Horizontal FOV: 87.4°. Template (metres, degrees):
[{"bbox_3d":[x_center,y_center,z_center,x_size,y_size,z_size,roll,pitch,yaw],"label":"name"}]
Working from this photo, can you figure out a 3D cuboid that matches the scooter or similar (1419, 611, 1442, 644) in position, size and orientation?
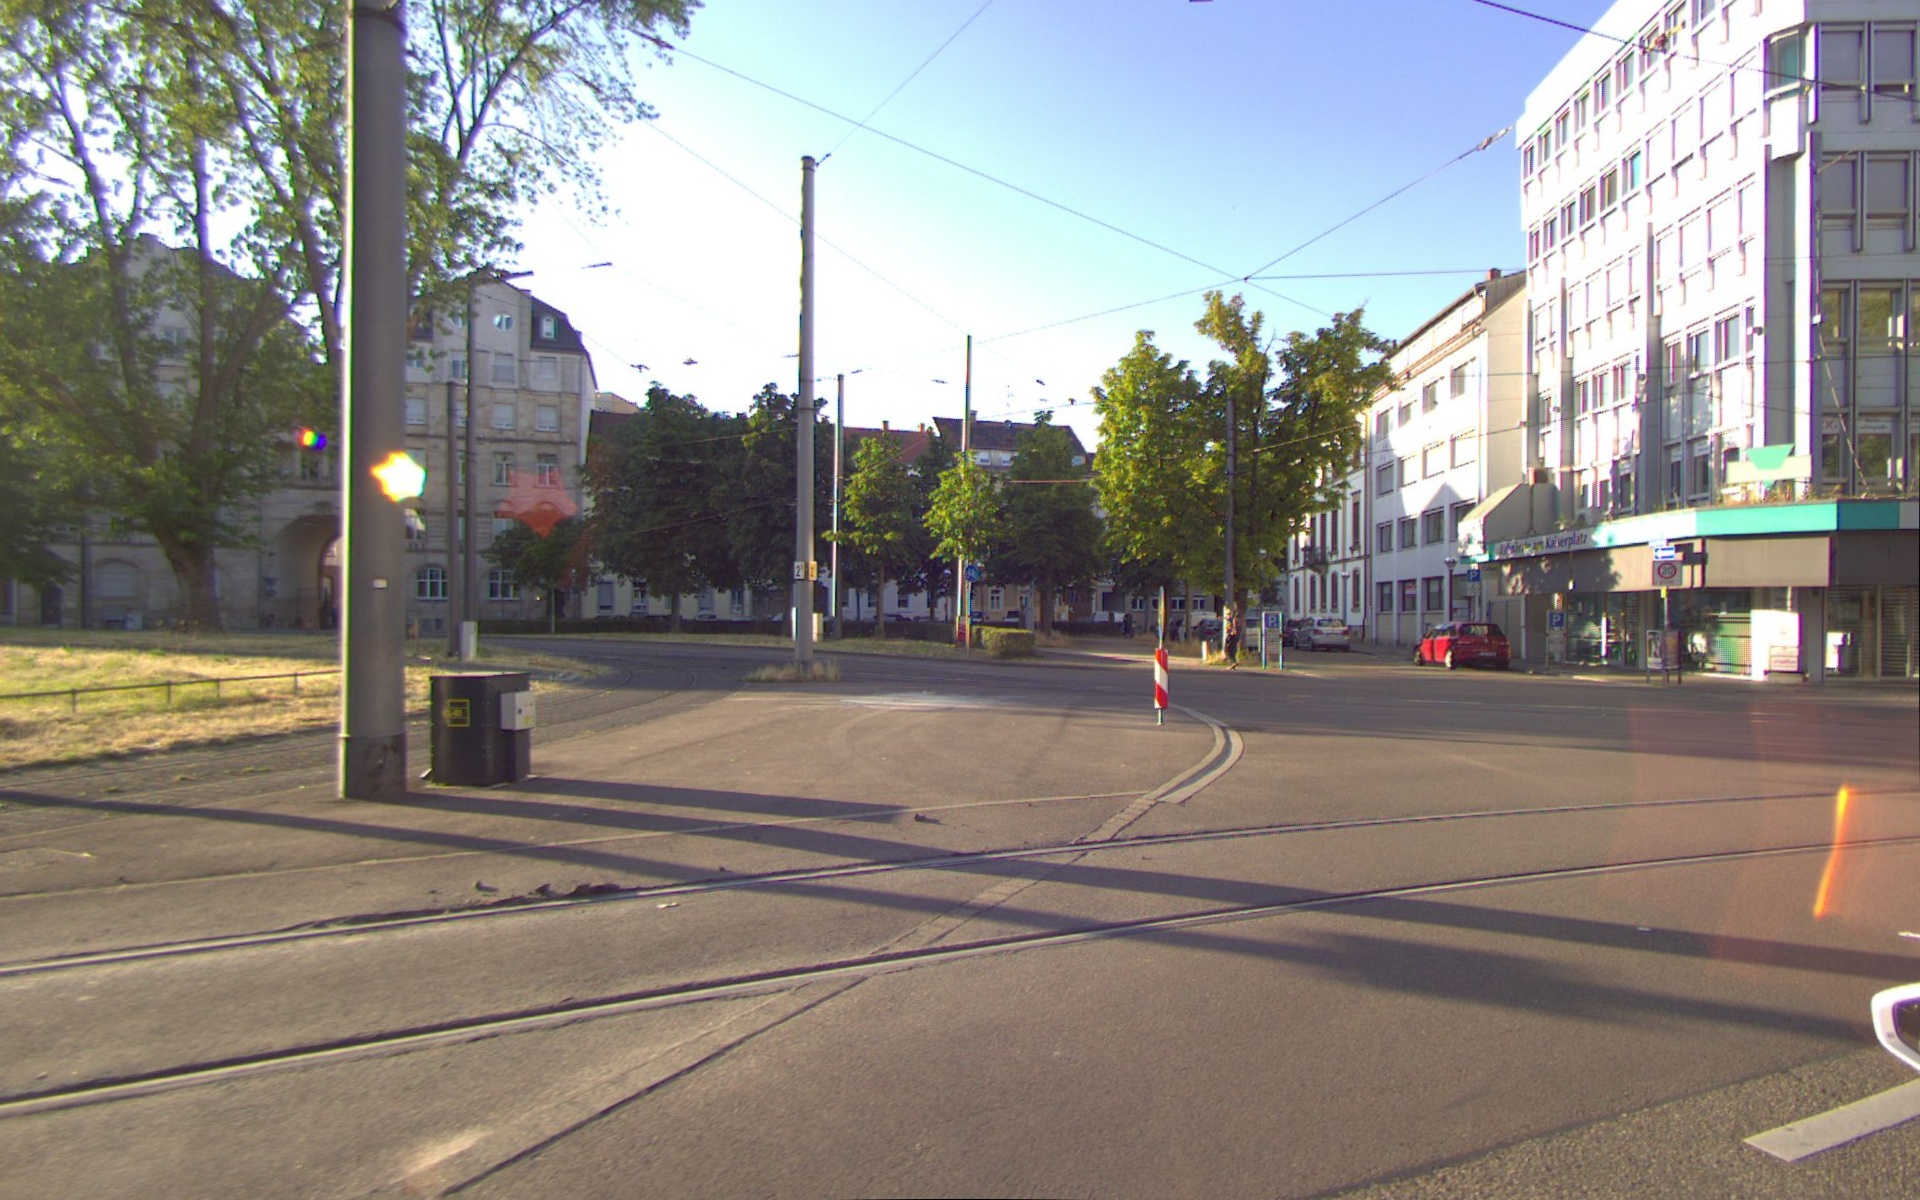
[{"bbox_3d":[20.683,1.187,44.161,0.742,1.417,1.924,1,0,29],"label":"scooter or similar"}]

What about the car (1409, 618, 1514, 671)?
[{"bbox_3d":[15.901,1.377,32.082,1.986,1.504,4.002,1,0,11],"label":"car"}]

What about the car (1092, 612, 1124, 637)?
[{"bbox_3d":[12.151,2.003,82.771,1.961,2.040,4.000,1,-1,0],"label":"car"}]

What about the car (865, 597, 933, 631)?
[{"bbox_3d":[-3.852,0.901,62.782,3.933,2.040,1.994,1,0,-15],"label":"car"}]

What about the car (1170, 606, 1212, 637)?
[{"bbox_3d":[13.636,1.248,59.432,1.959,1.751,4.002,1,0,7],"label":"car"}]

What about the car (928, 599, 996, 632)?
[{"bbox_3d":[0.125,0.993,63.930,3.933,2.040,1.994,1,0,-15],"label":"car"}]

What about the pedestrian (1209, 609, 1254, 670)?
[{"bbox_3d":[7.827,1.130,28.944,1.140,1.725,0.907,0,-1,22],"label":"pedestrian"}]

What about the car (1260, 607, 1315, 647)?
[{"bbox_3d":[17.446,1.432,53.755,1.959,2.040,4.002,1,-1,6],"label":"car"}]

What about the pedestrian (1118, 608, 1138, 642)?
[{"bbox_3d":[10.444,1.553,62.619,1.097,2.040,1.466,1,0,6],"label":"pedestrian"}]

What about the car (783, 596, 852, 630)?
[{"bbox_3d":[-8.714,0.798,61.189,3.933,2.040,1.994,1,0,-15],"label":"car"}]

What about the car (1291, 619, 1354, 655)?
[{"bbox_3d":[16.977,1.691,47.221,1.959,1.550,4.003,1,-1,8],"label":"car"}]

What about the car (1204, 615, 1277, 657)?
[{"bbox_3d":[11.955,1.493,43.065,1.961,1.706,4.000,1,-1,0],"label":"car"}]

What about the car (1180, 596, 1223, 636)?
[{"bbox_3d":[12.921,0.851,53.992,1.959,2.040,4.003,1,0,10],"label":"car"}]

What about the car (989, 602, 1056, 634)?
[{"bbox_3d":[4.038,1.167,65.031,3.933,2.040,1.994,1,0,-15],"label":"car"}]
